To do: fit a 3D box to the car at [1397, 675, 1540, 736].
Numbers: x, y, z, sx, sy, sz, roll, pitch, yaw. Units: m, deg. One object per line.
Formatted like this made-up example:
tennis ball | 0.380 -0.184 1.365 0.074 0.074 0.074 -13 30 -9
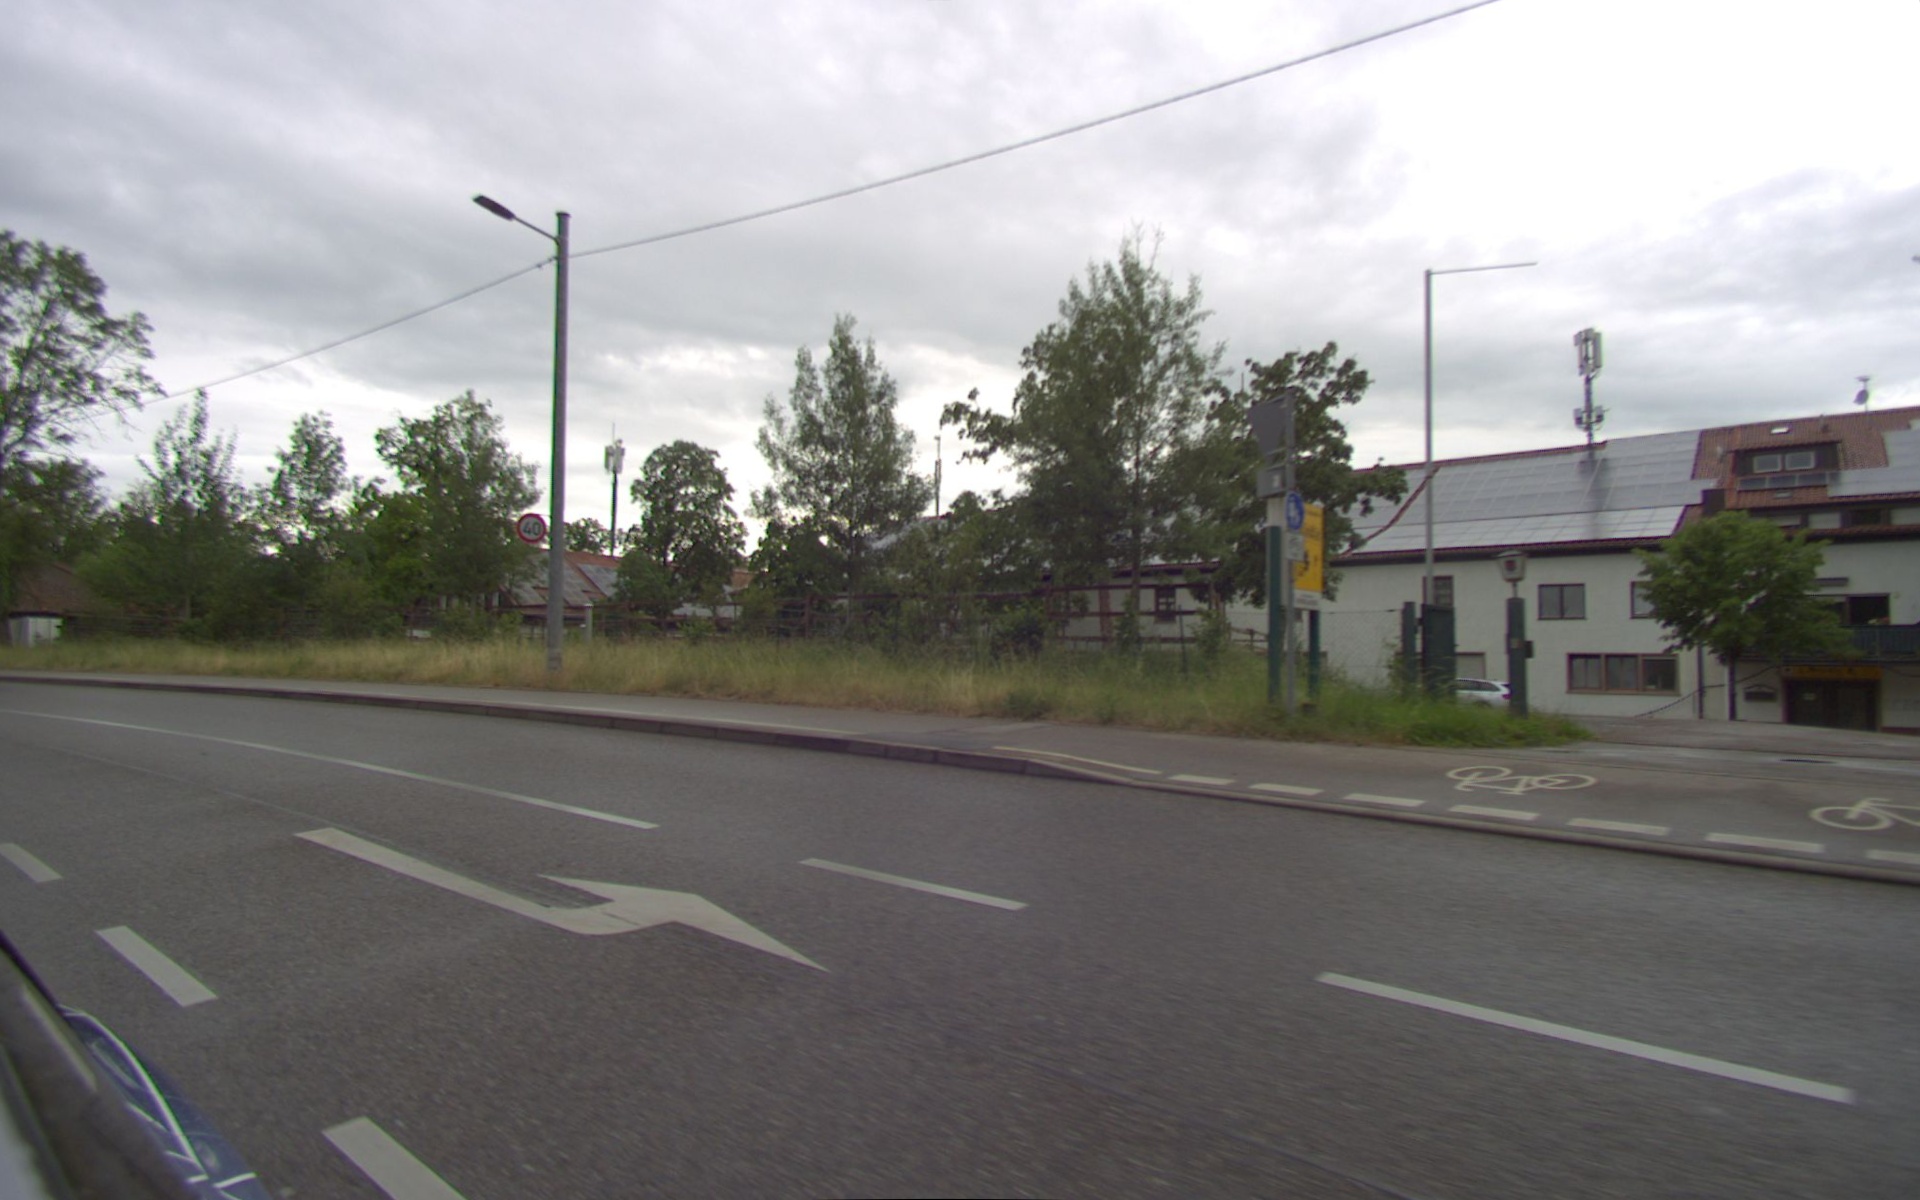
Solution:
car | 17.432 3.559 34.769 3.999 1.764 1.972 -2 -2 43
